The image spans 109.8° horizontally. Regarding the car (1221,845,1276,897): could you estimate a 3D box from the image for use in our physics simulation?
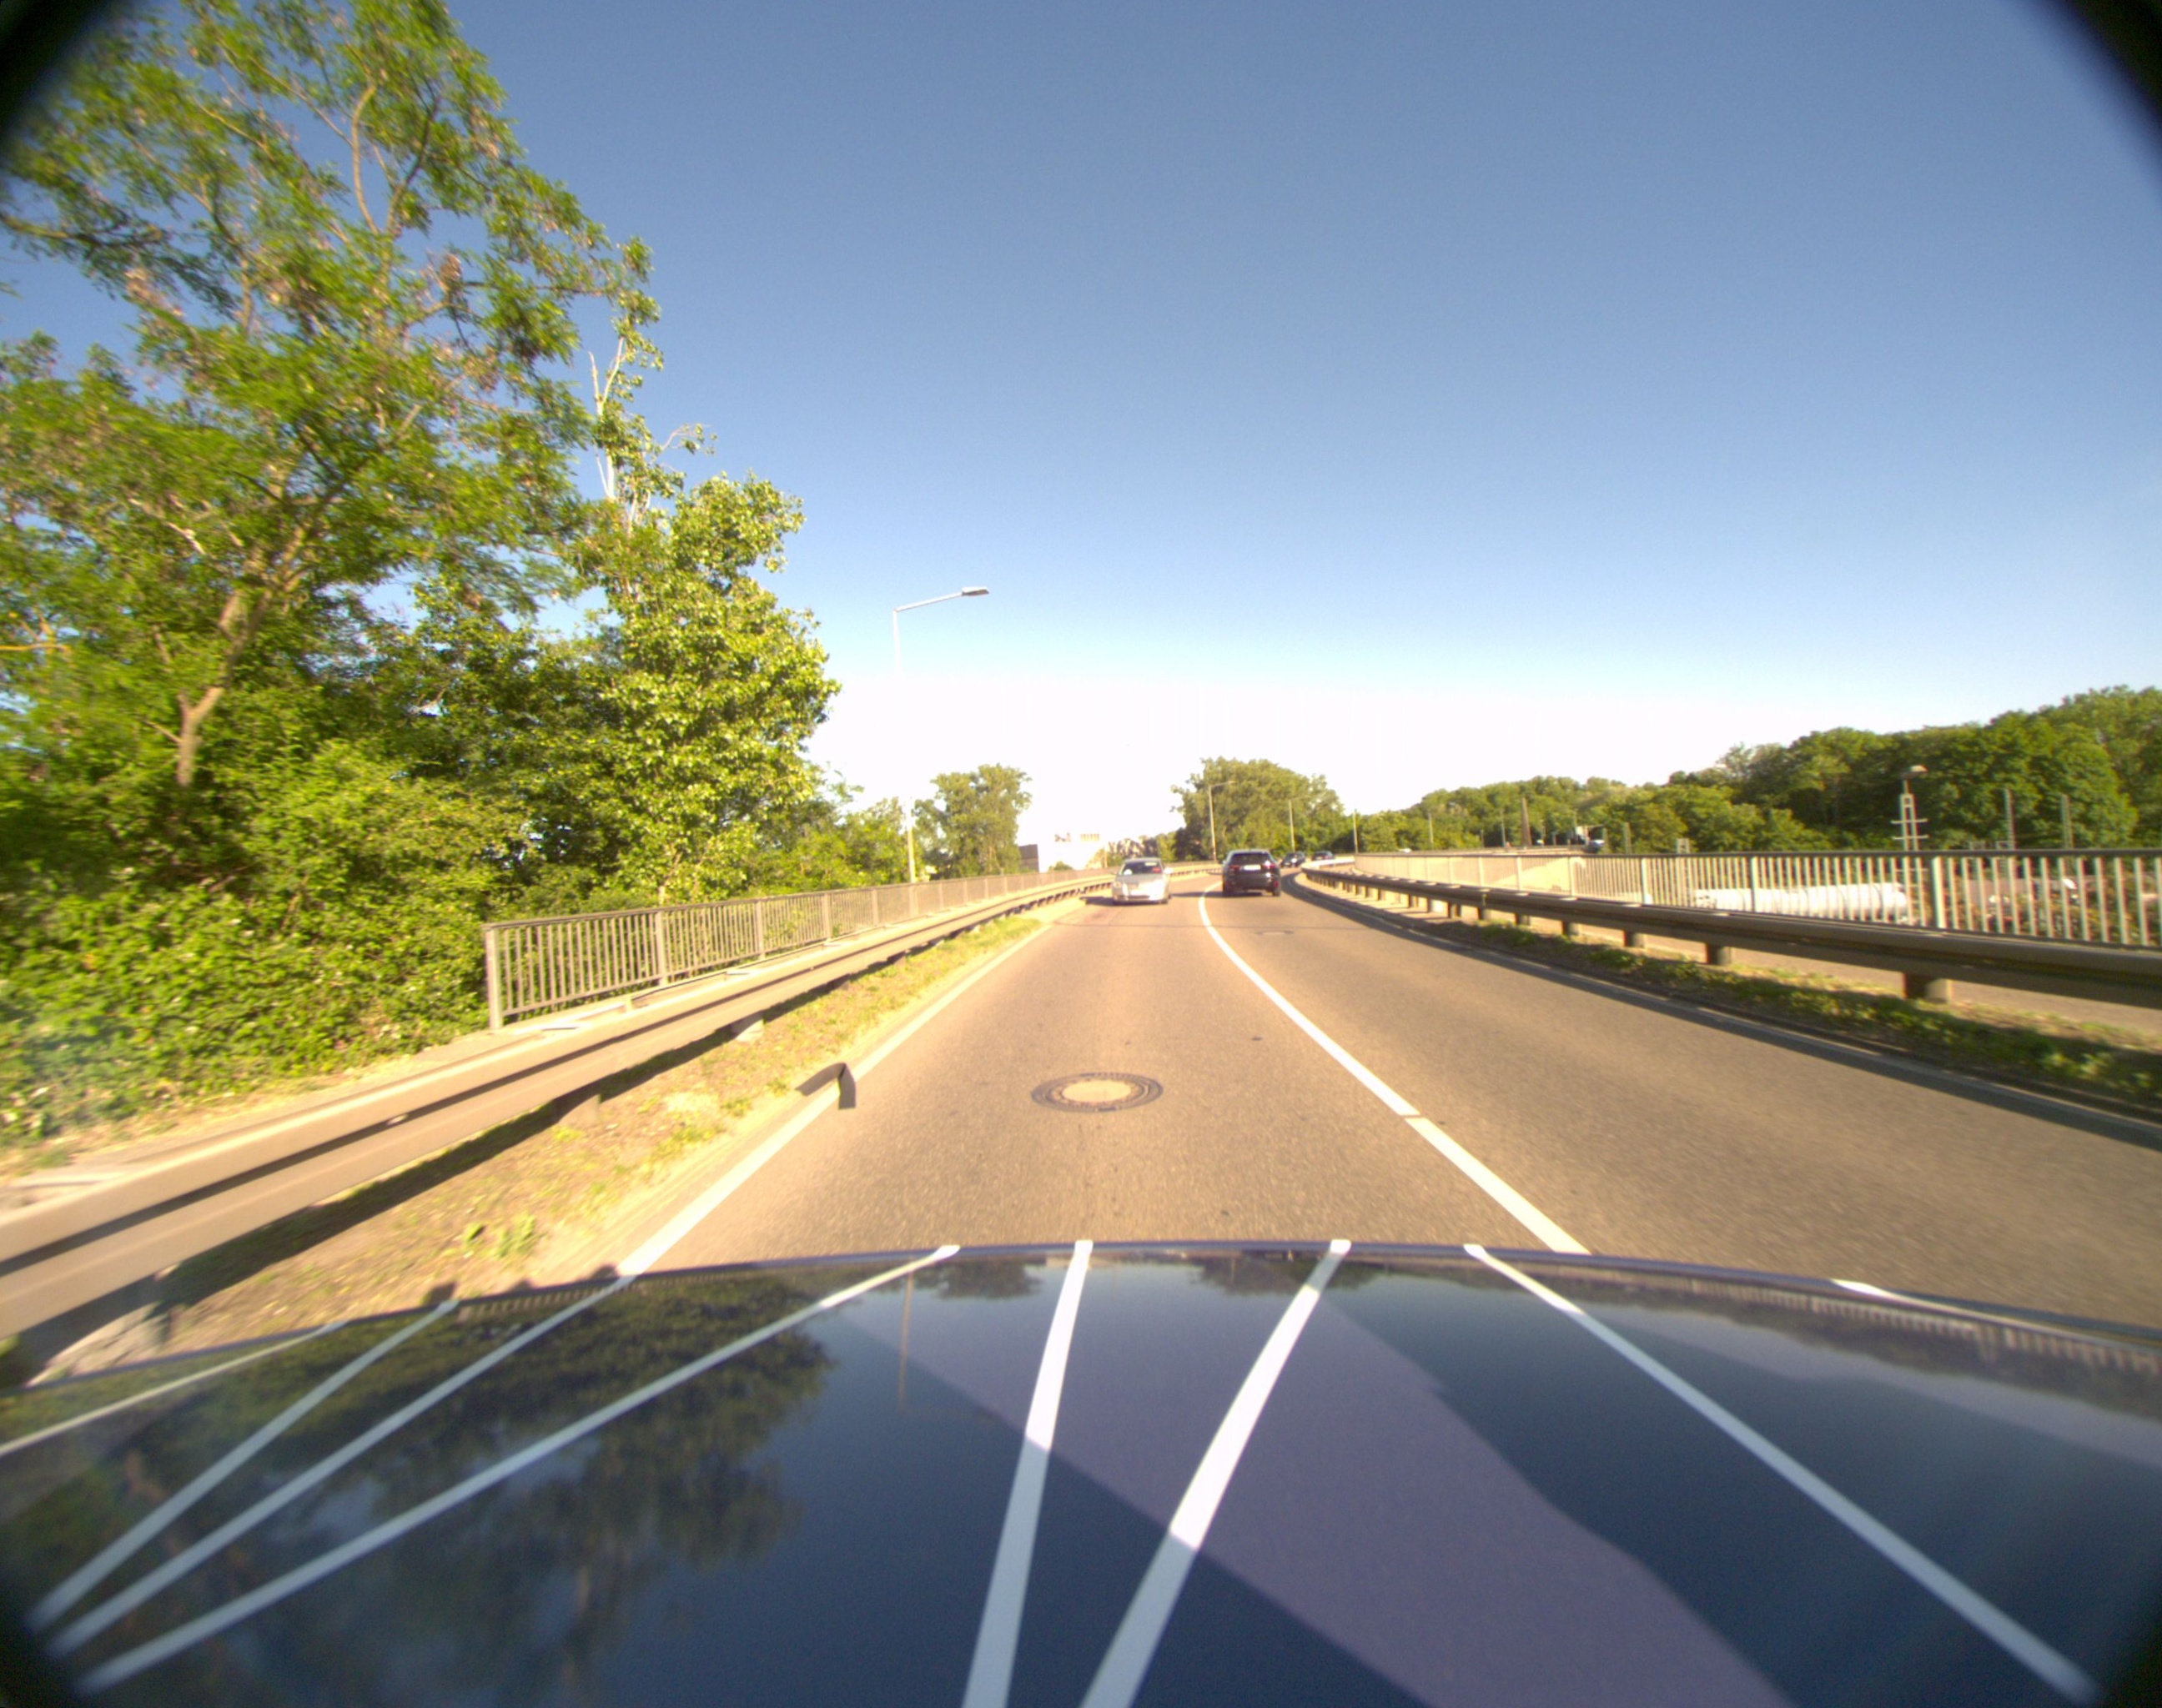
[{"bbox_3d":[5.841,0.542,26.770,1.681,1.646,3.861,-2,1,10],"label":"car"}]

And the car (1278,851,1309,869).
[{"bbox_3d":[21.964,0.590,78.524,1.679,1.694,3.612,-1,1,41],"label":"car"}]

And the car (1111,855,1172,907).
[{"bbox_3d":[2.064,0.816,24.839,1.682,1.433,3.860,-2,1,8],"label":"car"}]

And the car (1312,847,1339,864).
[{"bbox_3d":[24.351,0.129,75.541,1.679,1.619,3.612,-2,1,32],"label":"car"}]

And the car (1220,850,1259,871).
[{"bbox_3d":[12.449,0.475,59.451,2.146,1.558,4.205,-1,0,23],"label":"car"}]
